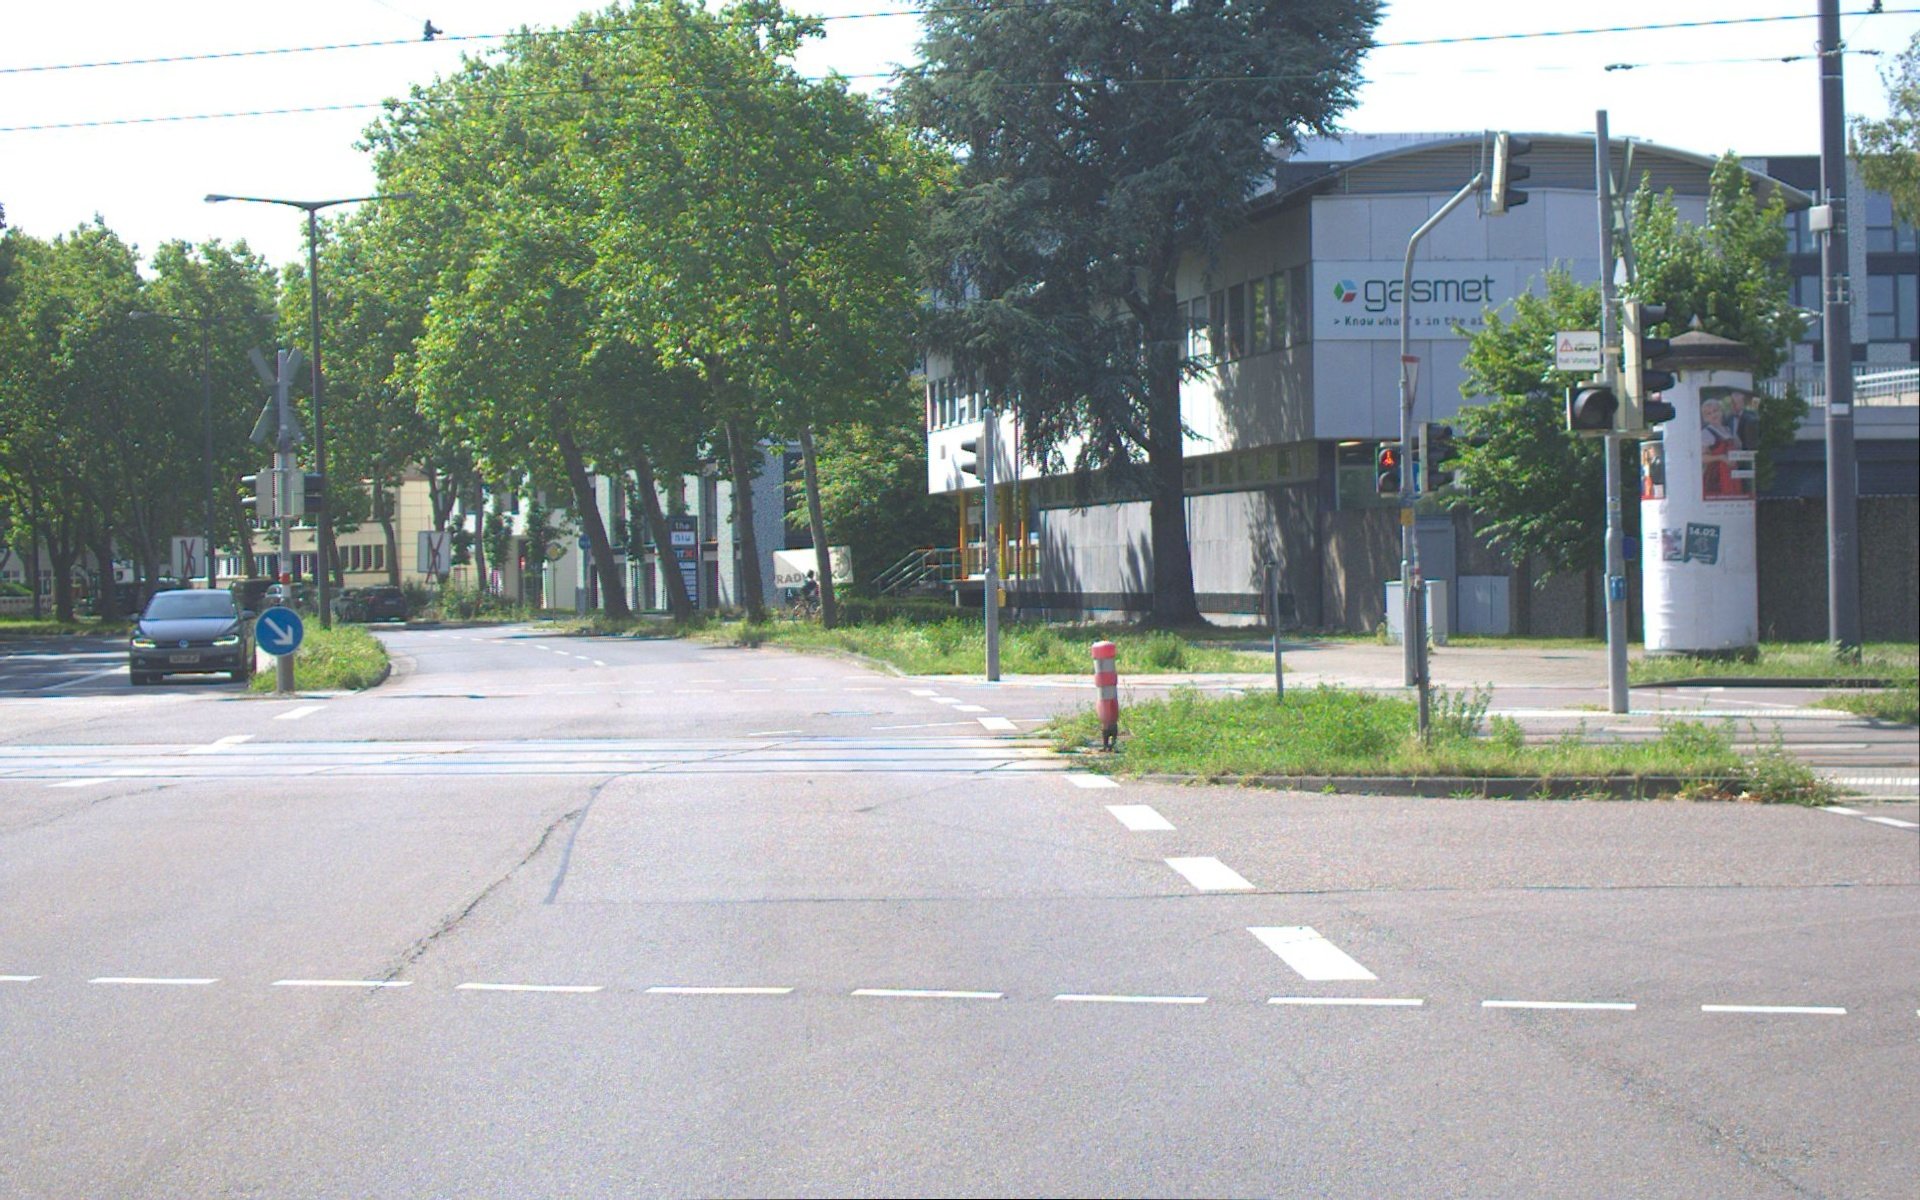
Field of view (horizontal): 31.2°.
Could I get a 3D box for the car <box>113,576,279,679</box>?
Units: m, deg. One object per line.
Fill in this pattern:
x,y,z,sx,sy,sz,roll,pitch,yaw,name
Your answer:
-11.855,0.394,53.580,1.694,1.503,4.130,-1,1,-1,car

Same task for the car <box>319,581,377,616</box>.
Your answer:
-26.478,-0.080,148.618,1.706,1.482,4.102,-2,1,-21,car

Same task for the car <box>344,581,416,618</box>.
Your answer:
-24.233,-0.033,143.507,1.706,1.482,4.720,-3,1,-25,car
